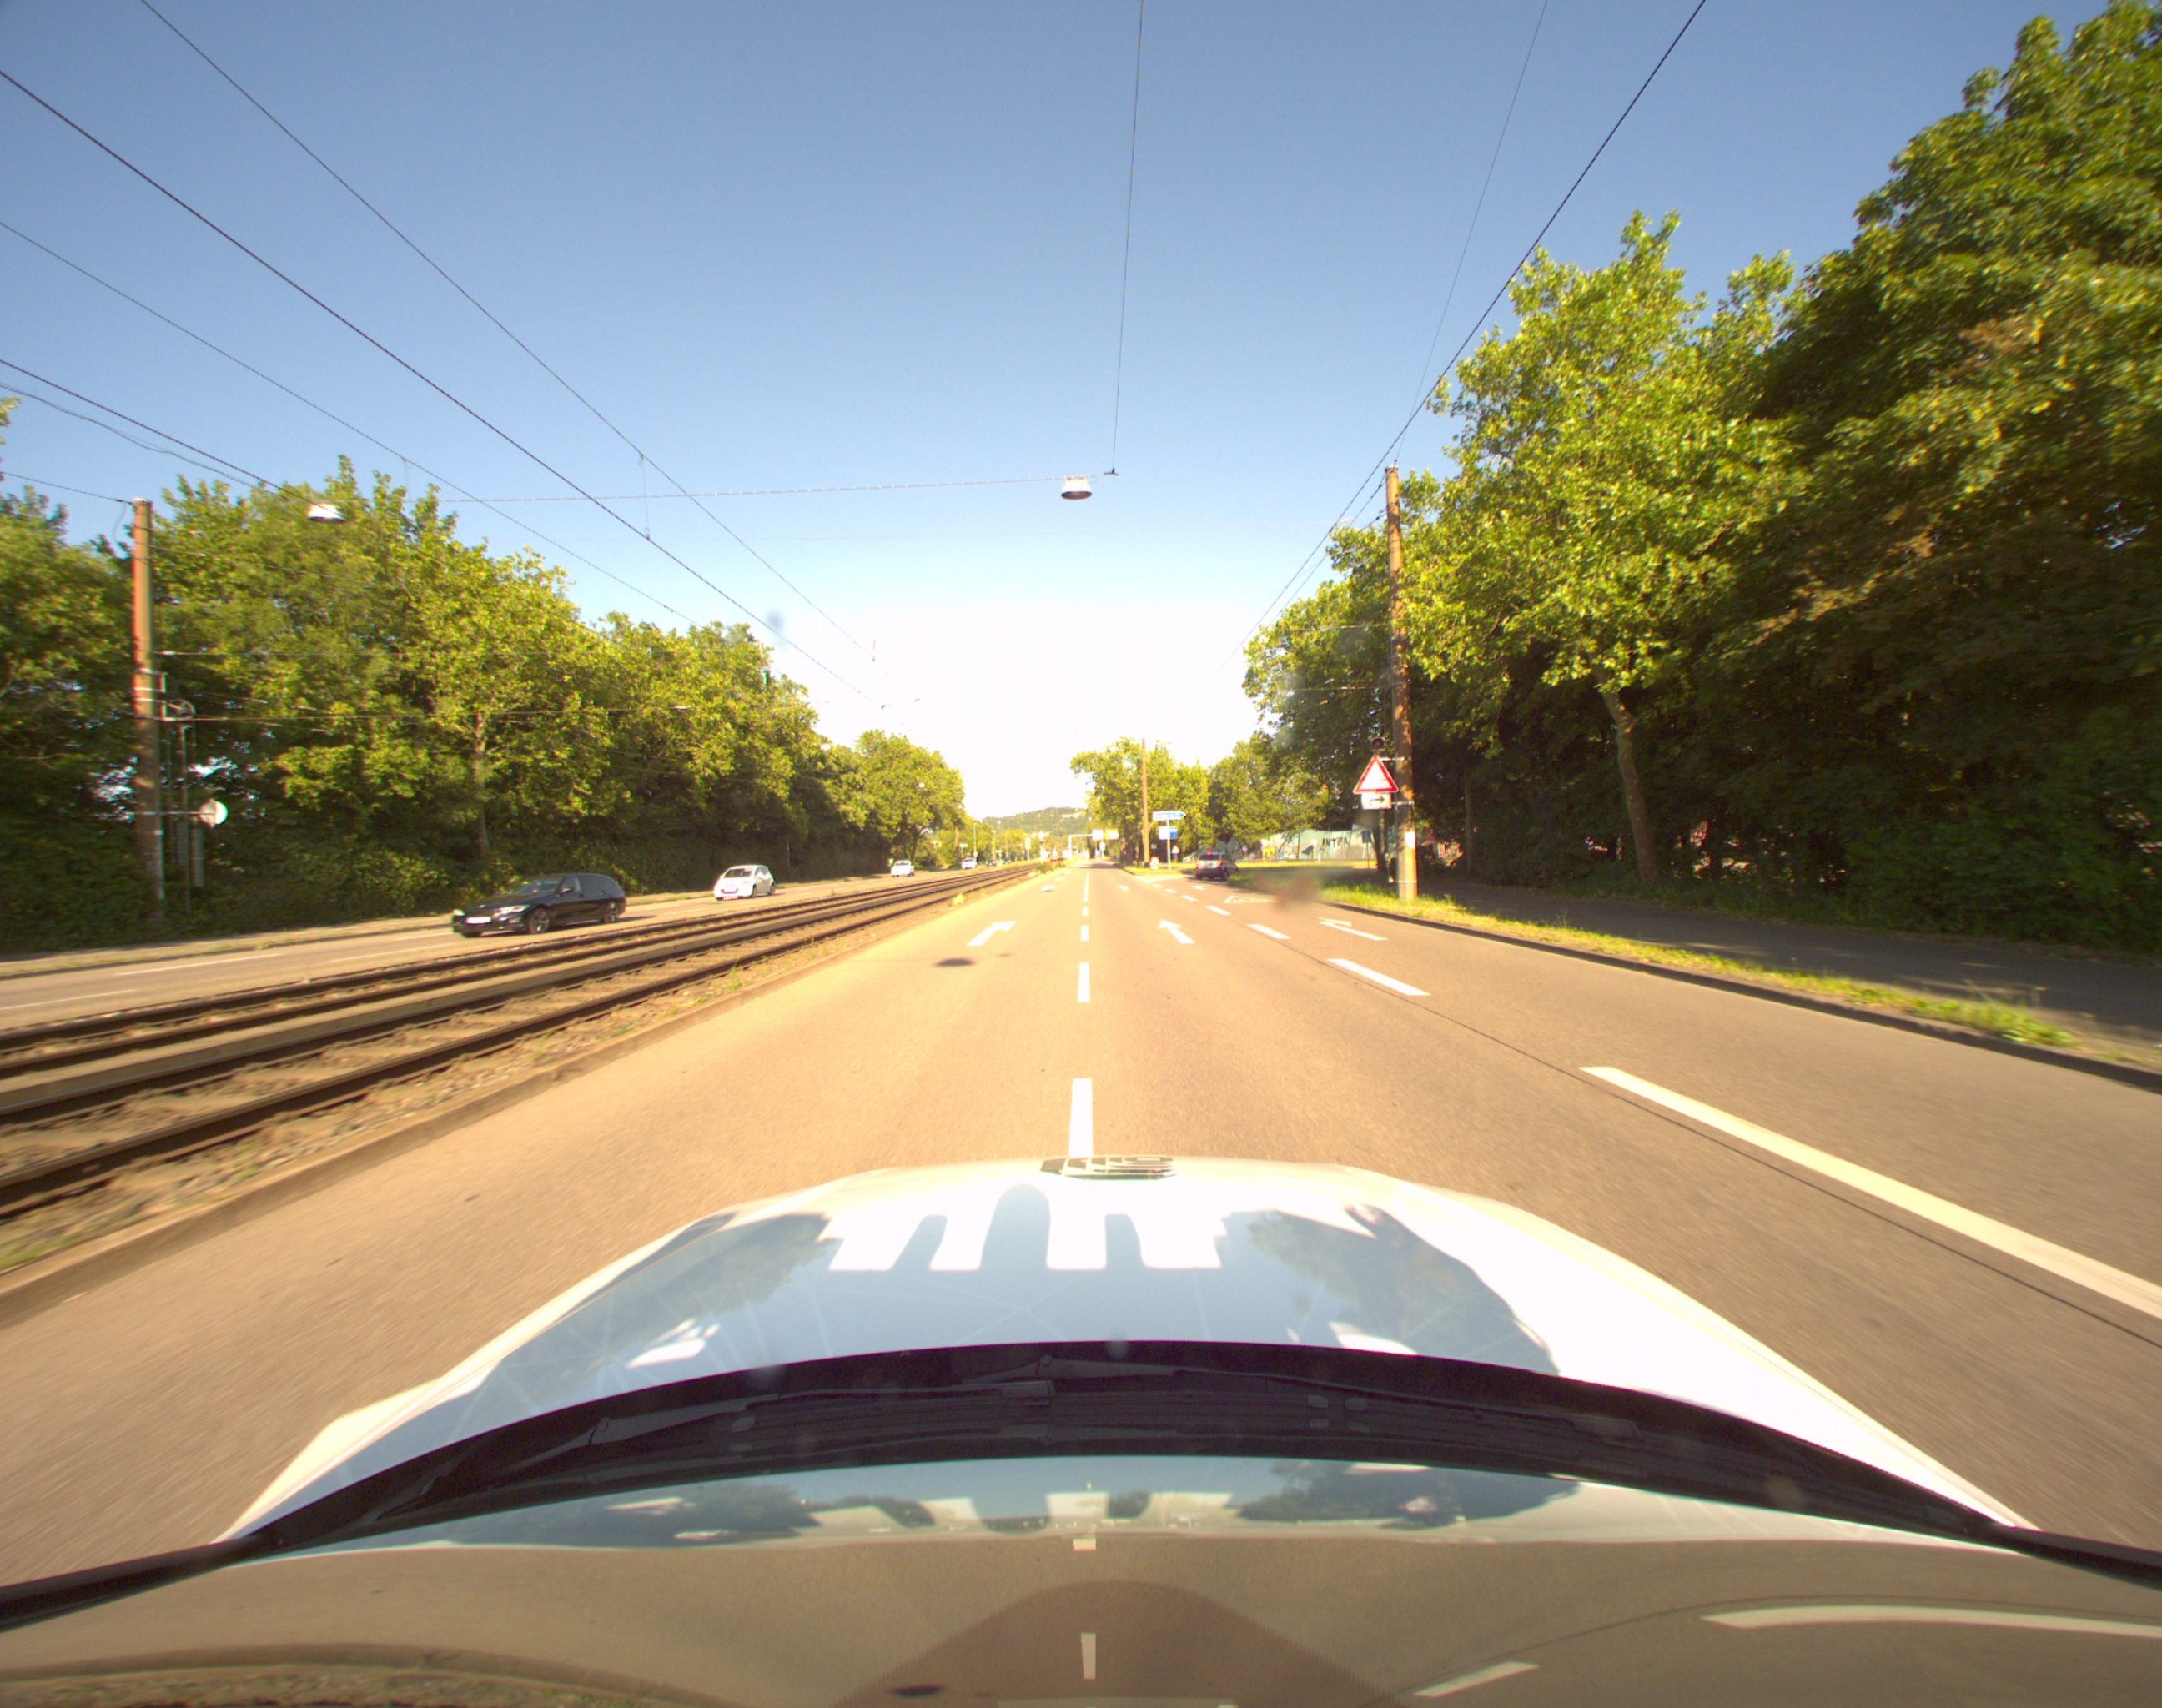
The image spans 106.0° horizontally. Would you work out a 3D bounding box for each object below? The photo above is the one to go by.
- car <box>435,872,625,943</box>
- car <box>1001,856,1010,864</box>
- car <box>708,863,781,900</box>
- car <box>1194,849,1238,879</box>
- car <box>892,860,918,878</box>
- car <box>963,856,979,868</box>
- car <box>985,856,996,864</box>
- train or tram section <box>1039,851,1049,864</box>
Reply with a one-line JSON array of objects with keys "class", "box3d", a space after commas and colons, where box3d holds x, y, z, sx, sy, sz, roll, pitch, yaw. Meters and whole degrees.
[{"class": "car", "box3d": [-13.804, 1.264, 20.800, 1.651, 1.432, 4.502, -4, 0, 1]}, {"class": "car", "box3d": [-18.240, 1.484, 196.650, 1.893, 1.694, 4.937, -3, 0, -2]}, {"class": "car", "box3d": [-16.213, 1.287, 39.462, 1.685, 1.556, 4.191, -4, 0, 1]}, {"class": "car", "box3d": [8.407, 0.601, 50.392, 1.793, 1.773, 3.884, -1, 0, 23]}, {"class": "car", "box3d": [-18.747, 1.600, 86.938, 1.842, 1.733, 4.926, -4, 0, -3]}, {"class": "car", "box3d": [-17.095, 1.251, 126.820, 1.957, 1.707, 4.940, -4, 0, -2]}, {"class": "car", "box3d": [-18.048, 1.158, 161.885, 1.706, 1.468, 4.345, -4, 0, -1]}, {"class": "train or tram section", "box3d": [-12.017, 1.191, 264.510, 2.795, 3.902, 12.327, -1, 0, -1]}]
